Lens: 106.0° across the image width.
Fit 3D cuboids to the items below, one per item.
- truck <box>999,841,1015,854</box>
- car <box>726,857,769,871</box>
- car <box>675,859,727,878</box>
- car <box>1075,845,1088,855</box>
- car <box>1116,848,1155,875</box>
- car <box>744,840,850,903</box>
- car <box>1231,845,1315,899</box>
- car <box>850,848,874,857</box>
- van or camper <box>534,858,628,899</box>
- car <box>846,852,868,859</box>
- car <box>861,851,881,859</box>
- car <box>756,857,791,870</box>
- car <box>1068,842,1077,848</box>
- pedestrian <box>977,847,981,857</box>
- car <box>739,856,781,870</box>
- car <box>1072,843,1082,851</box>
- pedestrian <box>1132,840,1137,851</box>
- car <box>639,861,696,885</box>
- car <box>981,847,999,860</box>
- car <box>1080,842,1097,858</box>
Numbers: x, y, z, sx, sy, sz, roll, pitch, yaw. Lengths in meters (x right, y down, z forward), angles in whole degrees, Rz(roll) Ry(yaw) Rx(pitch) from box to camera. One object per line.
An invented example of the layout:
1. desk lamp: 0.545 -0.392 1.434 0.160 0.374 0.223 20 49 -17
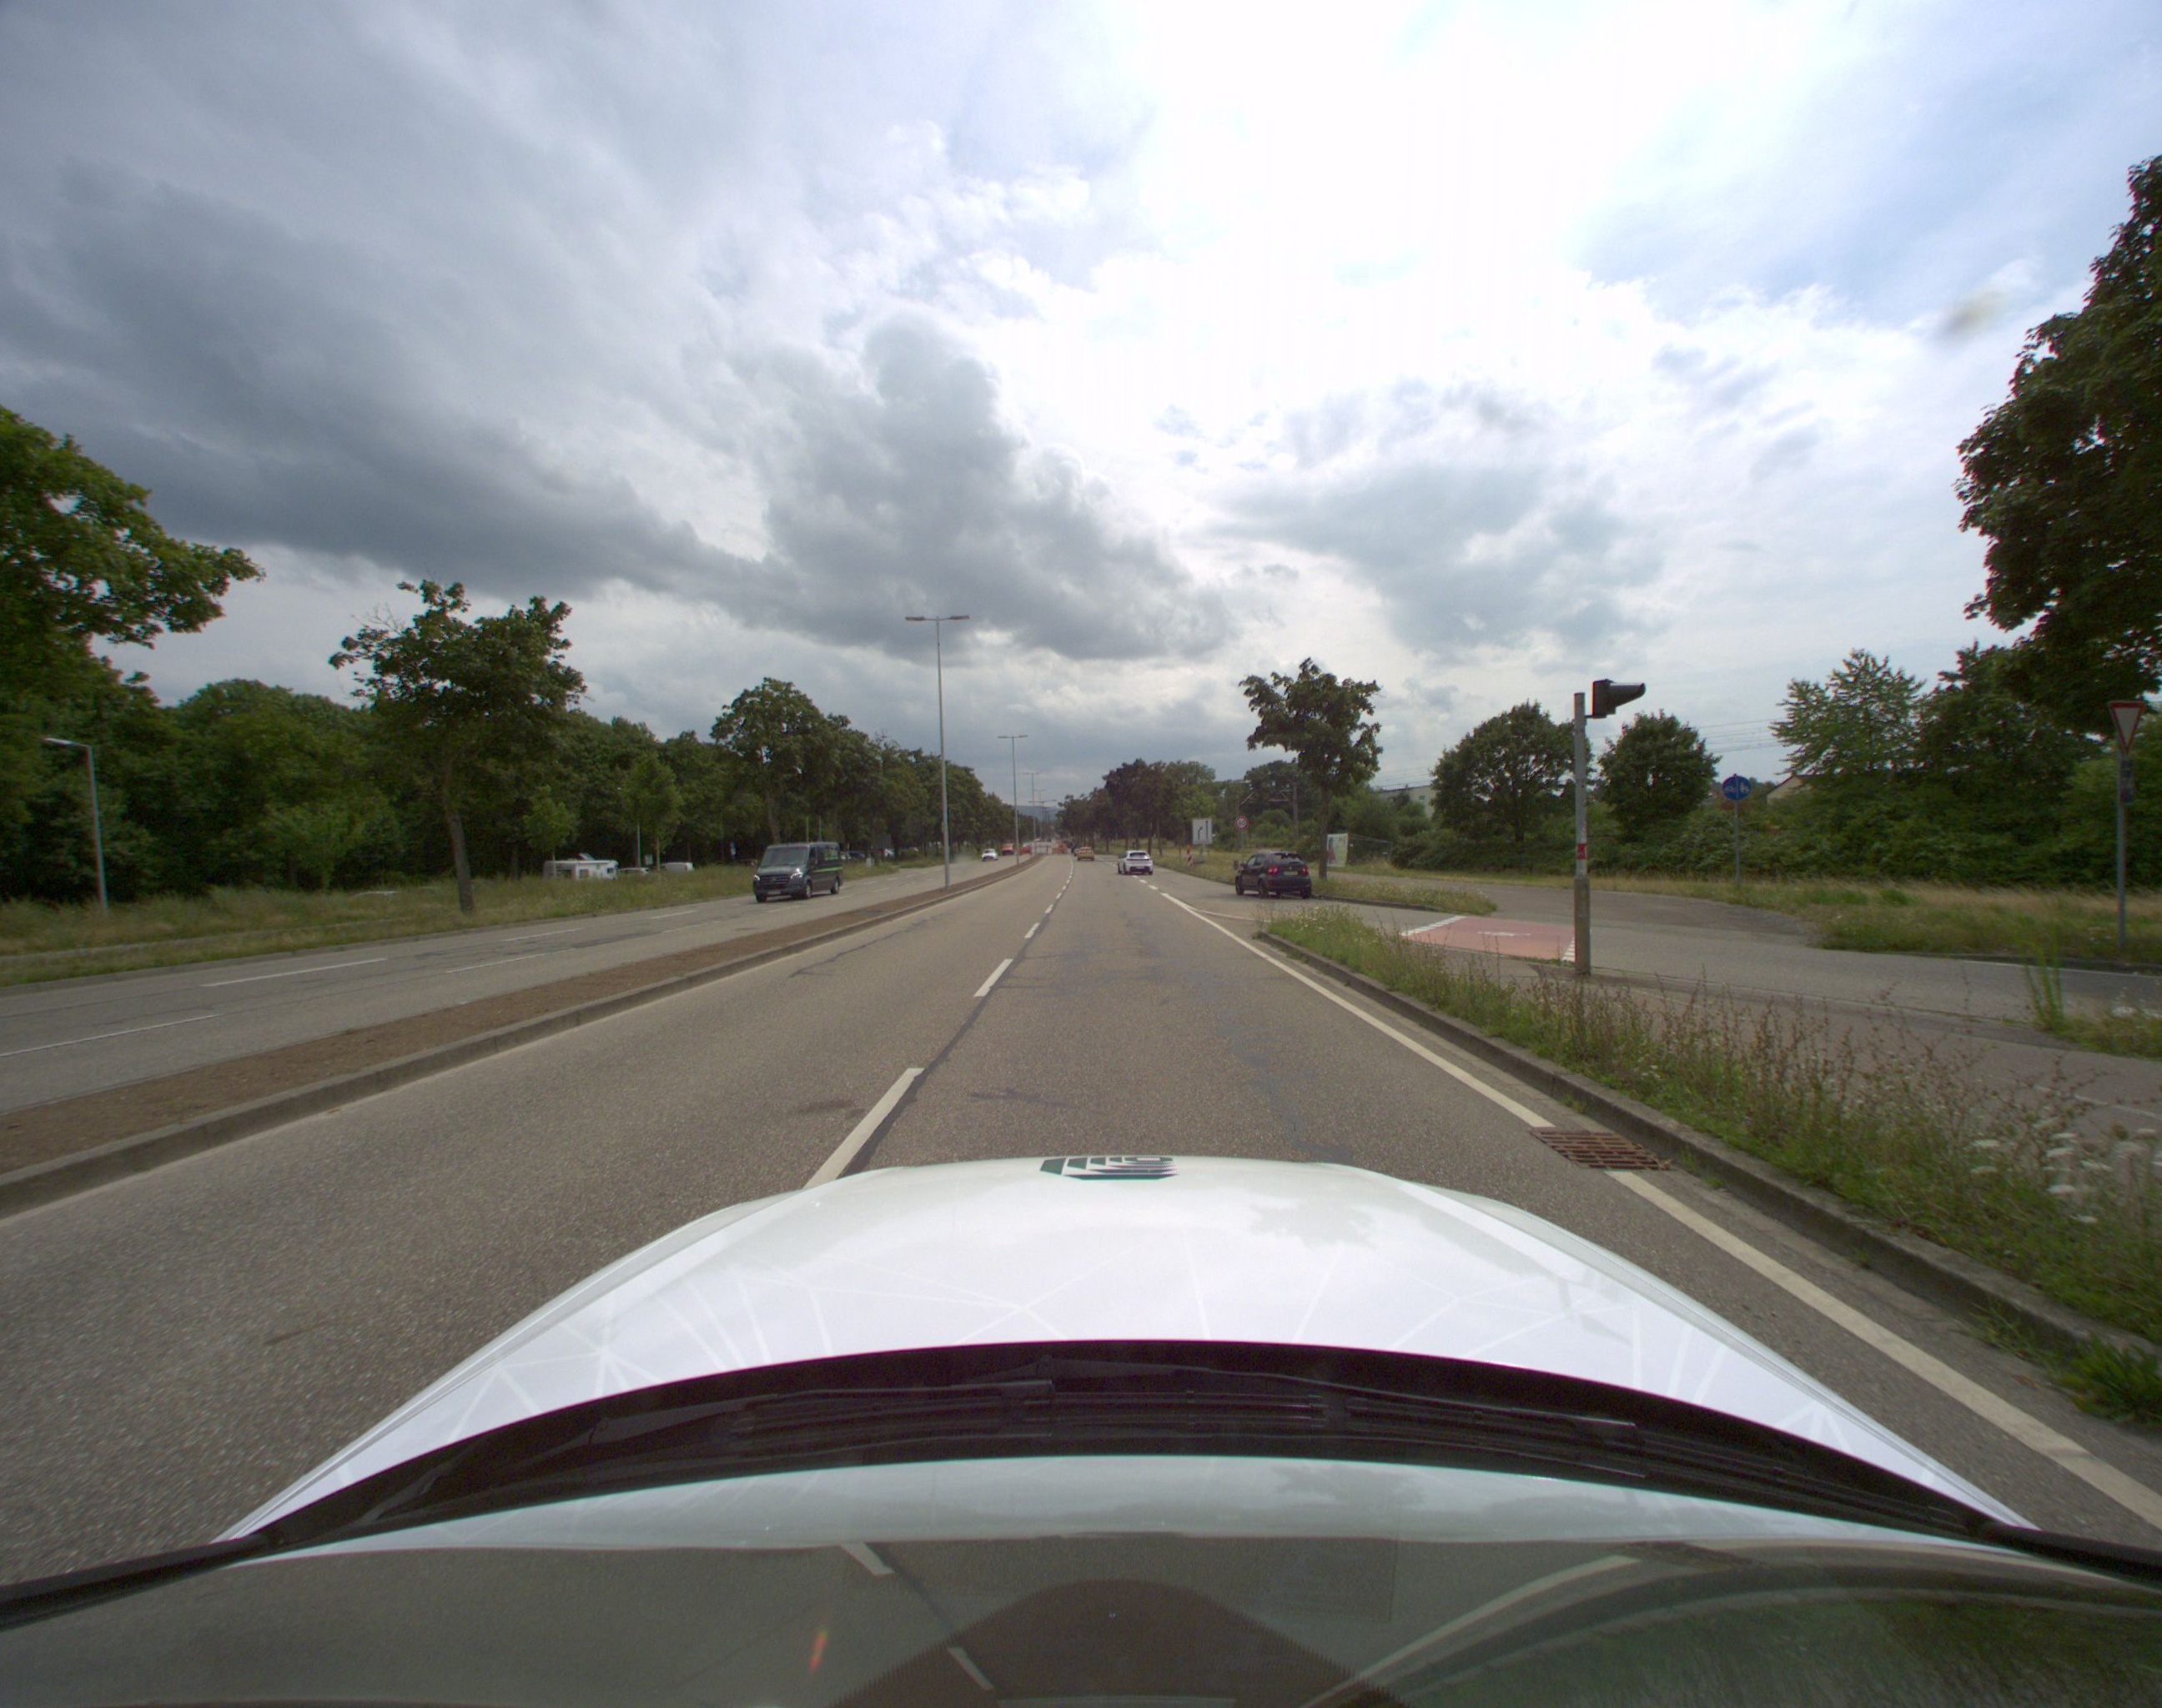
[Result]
1. truck: -12.785 -1.178 141.069 2.082 1.994 6.038 -3 1 0
2. car: -37.786 1.094 92.456 3.972 1.448 2.001 -2 1 1
3. car: -36.663 1.388 78.592 3.975 1.713 2.045 -2 1 -1
4. car: 0.101 -0.518 109.901 1.661 1.269 4.000 -2 1 0
5. car: 3.276 0.405 49.667 1.763 1.464 3.994 -2 1 -4
6. car: -11.348 0.607 33.140 2.088 2.200 6.003 -3 1 0
7. car: 6.511 0.550 28.017 1.700 1.668 3.994 -1 1 -4
8. car: -40.106 -0.264 149.439 3.759 1.425 1.967 -2 1 1
9. van or camper: -35.843 1.677 58.710 2.464 2.540 6.720 -2 1 0
10. car: -38.440 0.265 139.746 3.355 1.093 1.441 -2 1 0
11. car: -39.399 0.194 153.015 3.355 1.232 1.441 -2 1 0
12. car: -37.935 1.132 100.563 3.636 1.411 1.518 -2 1 1
13. car: -2.208 -2.378 214.060 2.198 1.683 4.002 -2 1 1
14. pedestrian: -19.417 -0.438 155.000 0.693 1.838 0.646 -2 1 -23
15. car: -37.736 1.066 95.846 4.166 1.498 1.886 -2 1 0
16. car: -0.685 -1.179 139.528 1.661 1.269 4.000 -2 1 0
17. pedestrian: 8.220 -1.268 125.329 0.689 1.695 0.932 -2 1 -6
18. car: -36.800 1.667 72.587 3.975 1.887 1.938 -2 1 -1
19. car: -11.324 -0.107 101.768 1.711 1.420 4.160 -3 1 0
20. car: 0.858 -0.476 89.486 1.787 1.561 4.000 -2 1 0
